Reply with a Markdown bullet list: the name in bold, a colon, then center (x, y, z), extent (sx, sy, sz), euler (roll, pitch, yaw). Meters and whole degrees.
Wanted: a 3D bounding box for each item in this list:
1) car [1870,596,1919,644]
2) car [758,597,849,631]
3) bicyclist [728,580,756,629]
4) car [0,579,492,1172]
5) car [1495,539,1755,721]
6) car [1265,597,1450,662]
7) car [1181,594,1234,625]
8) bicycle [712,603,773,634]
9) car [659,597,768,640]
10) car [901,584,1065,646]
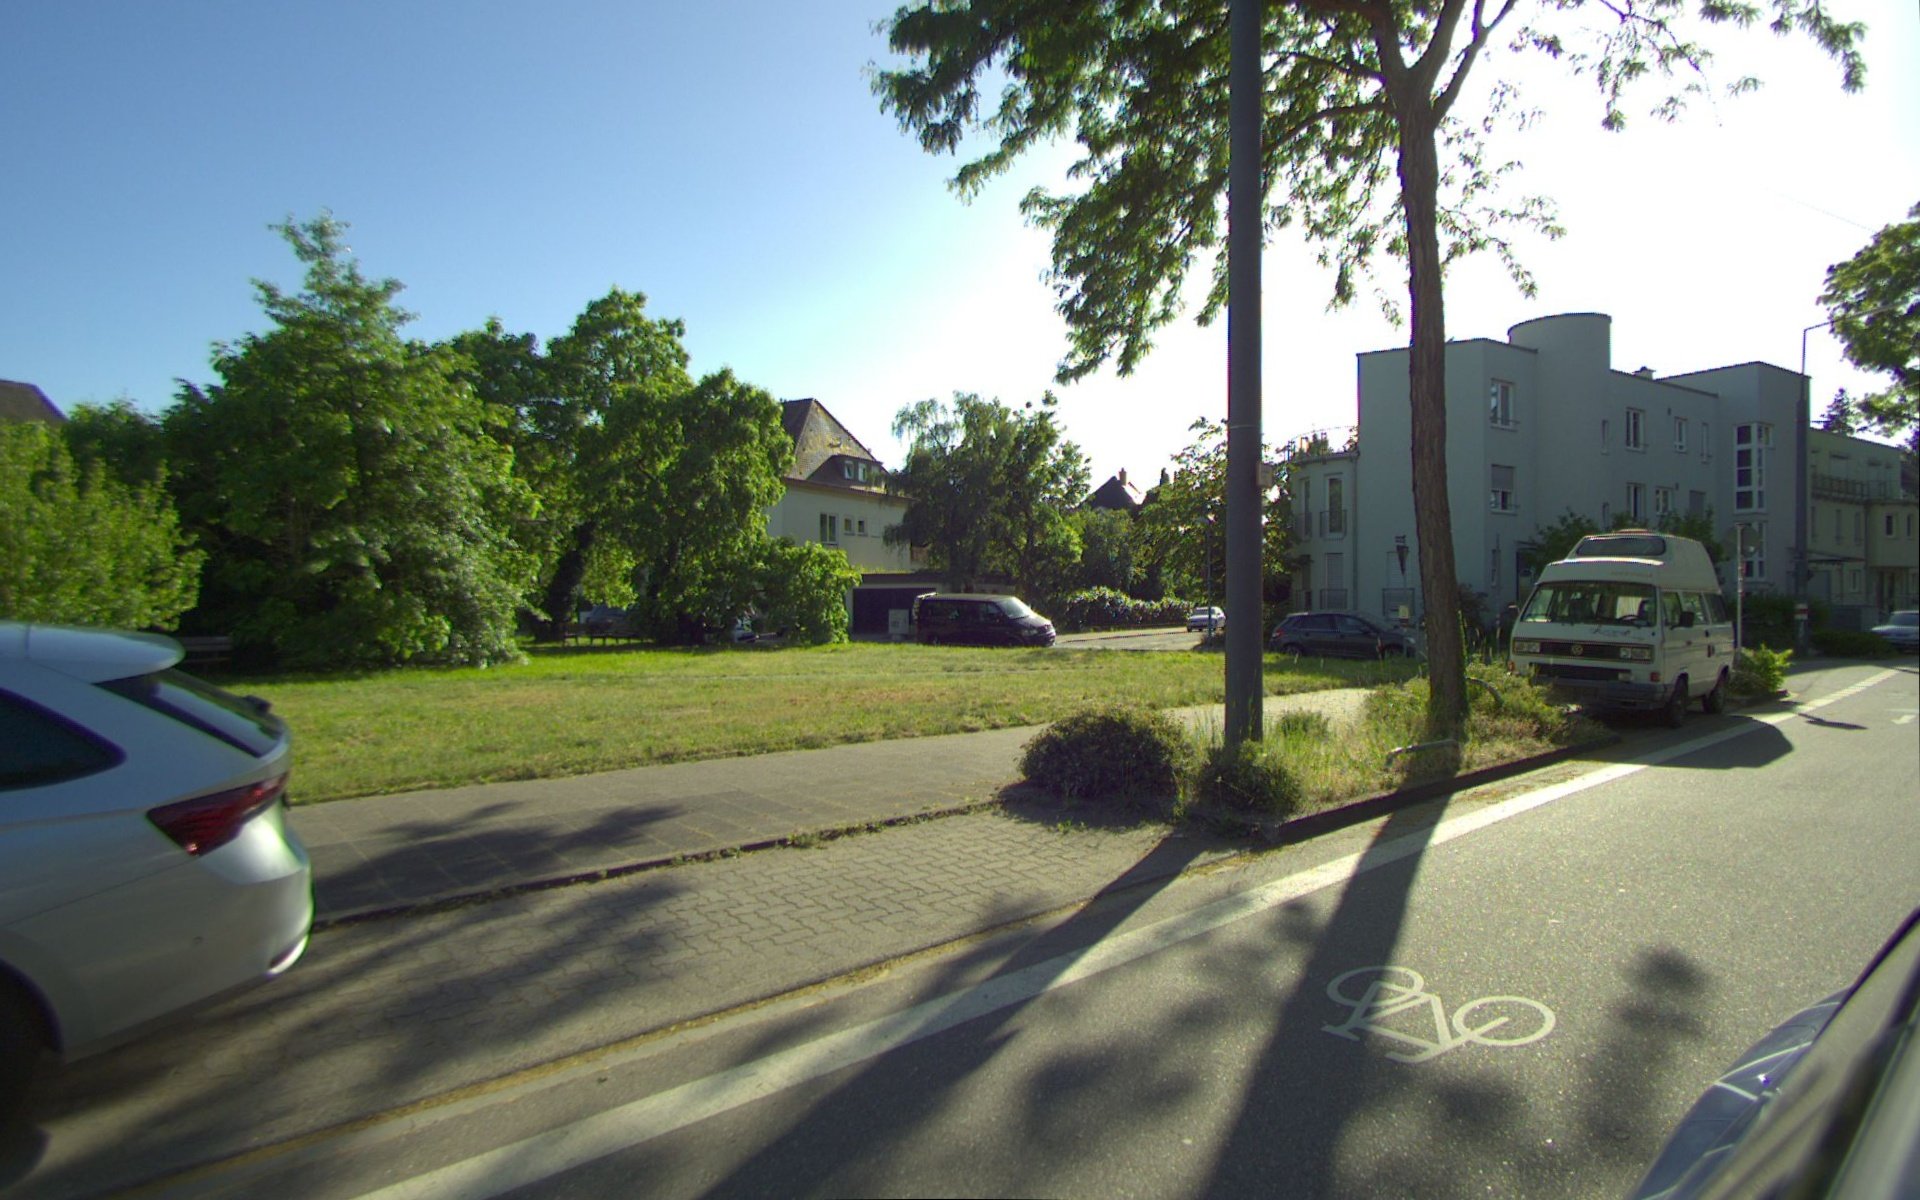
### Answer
- **car**: center (32.255, 0.629, 33.661), extent (4.440, 1.514, 1.745), euler (0, 0, -32)
- **car**: center (-7.535, 0.637, 49.220), extent (1.984, 1.519, 4.534), euler (0, 0, 31)
- **bicyclist**: center (-9.276, 0.177, 43.129), extent (0.841, 2.039, 0.819), euler (0, 0, 24)
- **car**: center (-4.254, 0.728, 2.432), extent (5.340, 1.483, 2.004), euler (-1, 4, -42)
- **car**: center (9.407, 0.346, 14.159), extent (4.636, 2.122, 1.996), euler (0, 0, -43)
- **car**: center (10.827, 0.745, 27.628), extent (4.428, 1.508, 1.988), euler (0, 4, 32)
- **car**: center (14.957, 0.522, 61.098), extent (1.984, 1.788, 4.223), euler (0, 0, 31)
- **bicycle**: center (-9.280, 0.784, 43.103), extent (2.636, 1.247, 0.793), euler (0, 0, 26)
- **car**: center (-9.876, 0.709, 40.500), extent (4.201, 1.612, 1.975), euler (1, 0, 35)
- **car**: center (0.723, 0.505, 33.728), extent (5.172, 1.909, 2.076), euler (-1, -1, 32)
